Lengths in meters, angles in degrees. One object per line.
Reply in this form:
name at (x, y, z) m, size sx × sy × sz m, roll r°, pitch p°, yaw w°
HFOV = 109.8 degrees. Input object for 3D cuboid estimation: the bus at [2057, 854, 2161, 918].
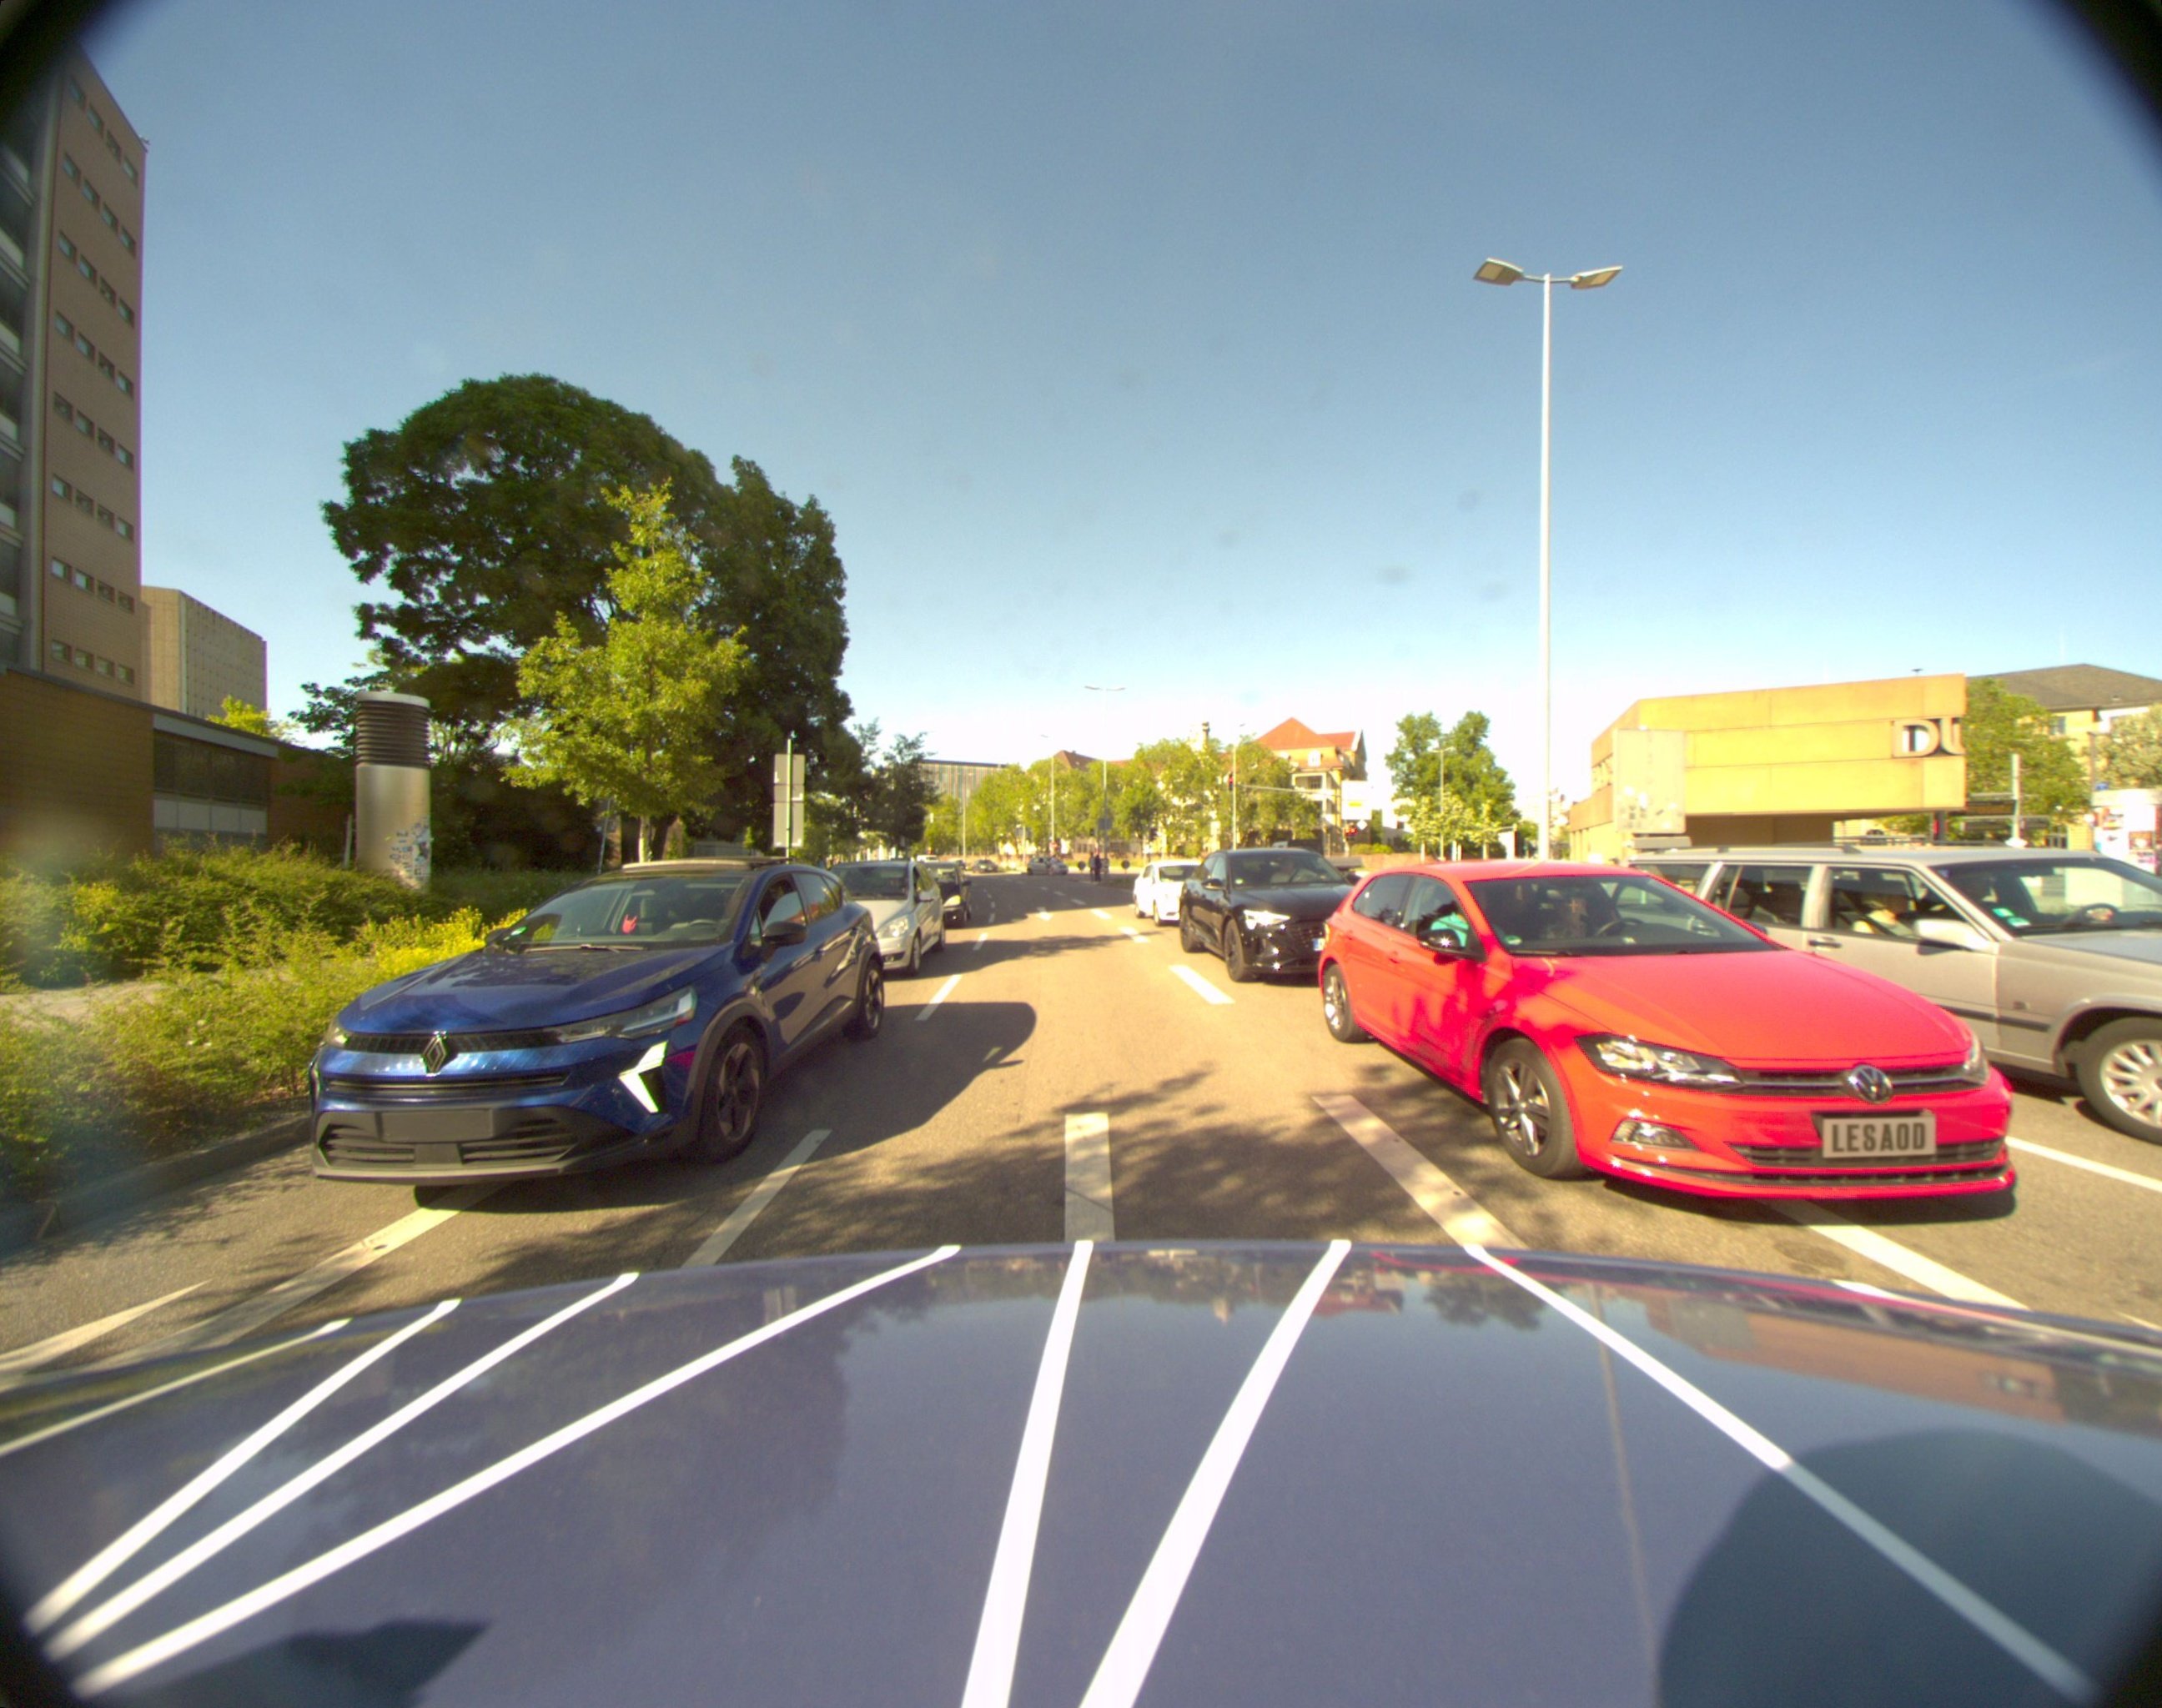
bus at (21.675, 0.617, 14.088) m, size 1.646 × 1.234 × 4.181 m, roll 0°, pitch 0°, yaw -5°

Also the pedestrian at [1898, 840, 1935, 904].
pedestrian at (23.924, 0.509, 21.754) m, size 0.647 × 1.778 × 0.666 m, roll -3°, pitch 1°, yaw -41°

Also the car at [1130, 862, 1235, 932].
car at (2.258, 0.920, 17.826) m, size 1.575 × 1.410 × 3.711 m, roll -1°, pitch 0°, yaw -6°

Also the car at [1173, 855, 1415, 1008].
car at (2.561, 0.829, 10.363) m, size 1.859 × 1.606 × 4.452 m, roll 0°, pitch 0°, yaw -3°

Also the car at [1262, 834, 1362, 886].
car at (11.092, 0.265, 37.090) m, size 2.117 × 2.300 × 6.209 m, roll -1°, pitch 0°, yaw -10°

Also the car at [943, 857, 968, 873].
car at (-11.945, 1.026, 72.140) m, size 1.754 × 1.370 × 3.568 m, roll -1°, pitch 0°, yaw -19°

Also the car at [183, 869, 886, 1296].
car at (-2.683, 0.943, 5.051) m, size 1.705 × 1.596 × 4.084 m, roll -1°, pitch 0°, yaw 0°

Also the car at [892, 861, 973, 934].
car at (-3.572, 0.984, 18.797) m, size 1.651 × 1.601 × 3.488 m, roll 0°, pitch 0°, yaw -6°

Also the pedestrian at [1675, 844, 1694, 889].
pedestrian at (24.105, 0.483, 30.351) m, size 0.467 × 1.766 × 0.647 m, roll 0°, pitch 1°, yaw 29°

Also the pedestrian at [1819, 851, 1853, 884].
pedestrian at (30.193, 0.552, 30.384) m, size 0.645 × 1.303 × 0.763 m, roll -1°, pitch 0°, yaw 9°

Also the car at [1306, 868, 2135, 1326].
car at (2.797, 0.872, 4.555) m, size 1.674 × 1.464 × 3.853 m, roll -2°, pitch 0°, yaw -1°

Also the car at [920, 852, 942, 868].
car at (-20.051, 0.778, 101.615) m, size 1.790 × 2.002 × 4.223 m, roll -2°, pitch 1°, yaw -26°

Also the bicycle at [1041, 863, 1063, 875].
bicycle at (-2.230, 1.128, 58.090) m, size 1.650 × 0.884 × 0.591 m, roll -2°, pitch 1°, yaw 33°

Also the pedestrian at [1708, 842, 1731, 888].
pedestrian at (24.582, 0.422, 29.243) m, size 0.644 × 1.766 × 0.618 m, roll 0°, pitch 1°, yaw 42°

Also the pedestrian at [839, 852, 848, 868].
pedestrian at (-28.472, 0.726, 91.210) m, size 0.823 × 1.906 × 0.770 m, roll -2°, pitch 1°, yaw -27°

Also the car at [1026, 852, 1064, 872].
car at (-3.153, 0.712, 65.568) m, size 1.528 × 1.669 × 3.371 m, roll -1°, pitch 0°, yaw -41°

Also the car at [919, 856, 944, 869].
car at (-17.239, 0.962, 87.529) m, size 1.884 × 1.472 × 3.992 m, roll -2°, pitch 0°, yaw -24°

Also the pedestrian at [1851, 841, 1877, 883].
pedestrian at (33.060, 0.343, 32.076) m, size 0.645 × 1.766 × 0.468 m, roll -1°, pitch 1°, yaw -4°

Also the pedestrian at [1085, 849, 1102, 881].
pedestrian at (0.728, 0.618, 44.514) m, size 0.887 × 1.814 × 0.776 m, roll -2°, pitch 1°, yaw -7°

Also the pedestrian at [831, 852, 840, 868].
pedestrian at (-29.403, 0.760, 91.088) m, size 0.823 × 1.906 × 0.770 m, roll -2°, pitch 1°, yaw -27°

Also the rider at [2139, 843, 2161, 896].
rider at (30.368, 0.430, 21.177) m, size 0.668 × 1.455 × 0.862 m, roll 0°, pitch 0°, yaw 20°

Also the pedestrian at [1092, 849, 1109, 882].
pedestrian at (1.096, 0.640, 43.204) m, size 0.756 × 1.814 × 0.776 m, roll -2°, pitch 1°, yaw -12°

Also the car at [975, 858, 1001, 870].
car at (-9.593, 1.002, 78.172) m, size 1.587 × 1.197 × 3.992 m, roll 0°, pitch 0°, yaw -23°

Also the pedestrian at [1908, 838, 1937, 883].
pedestrian at (33.012, 0.256, 29.811) m, size 0.645 × 1.766 × 0.468 m, roll -1°, pitch 1°, yaw -4°

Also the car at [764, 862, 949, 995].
car at (-3.157, 0.955, 11.540) m, size 1.786 × 1.615 × 4.042 m, roll 0°, pitch 0°, yaw -3°

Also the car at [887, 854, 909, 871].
car at (-20.097, 0.880, 83.432) m, size 1.830 × 1.842 × 3.745 m, roll 0°, pitch 0°, yaw -22°

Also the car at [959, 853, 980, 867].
car at (-13.266, 0.723, 90.034) m, size 1.598 × 1.596 × 3.066 m, roll -1°, pitch 0°, yaw -26°

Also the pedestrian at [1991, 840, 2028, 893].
pedestrian at (31.323, 0.407, 25.643) m, size 0.644 × 1.766 × 0.469 m, roll 0°, pitch 1°, yaw 21°

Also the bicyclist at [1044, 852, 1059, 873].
bicyclist at (-2.231, 0.671, 58.072) m, size 0.814 × 1.549 × 0.696 m, roll -2°, pitch 1°, yaw 33°

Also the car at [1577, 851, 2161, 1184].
car at (5.764, 0.773, 4.984) m, size 1.713 × 1.464 × 4.752 m, roll -4°, pitch -1°, yaw -2°

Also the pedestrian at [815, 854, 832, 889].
pedestrian at (-12.031, 0.801, 35.451) m, size 0.693 × 1.594 × 0.661 m, roll 0°, pitch 0°, yaw -14°

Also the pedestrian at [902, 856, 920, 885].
pedestrian at (-9.348, 0.897, 41.751) m, size 0.660 × 1.594 × 0.694 m, roll 0°, pitch 0°, yaw 20°

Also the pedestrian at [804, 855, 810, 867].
pedestrian at (-44.527, 1.140, 123.575) m, size 0.823 × 1.906 × 0.770 m, roll -2°, pitch 1°, yaw -26°
